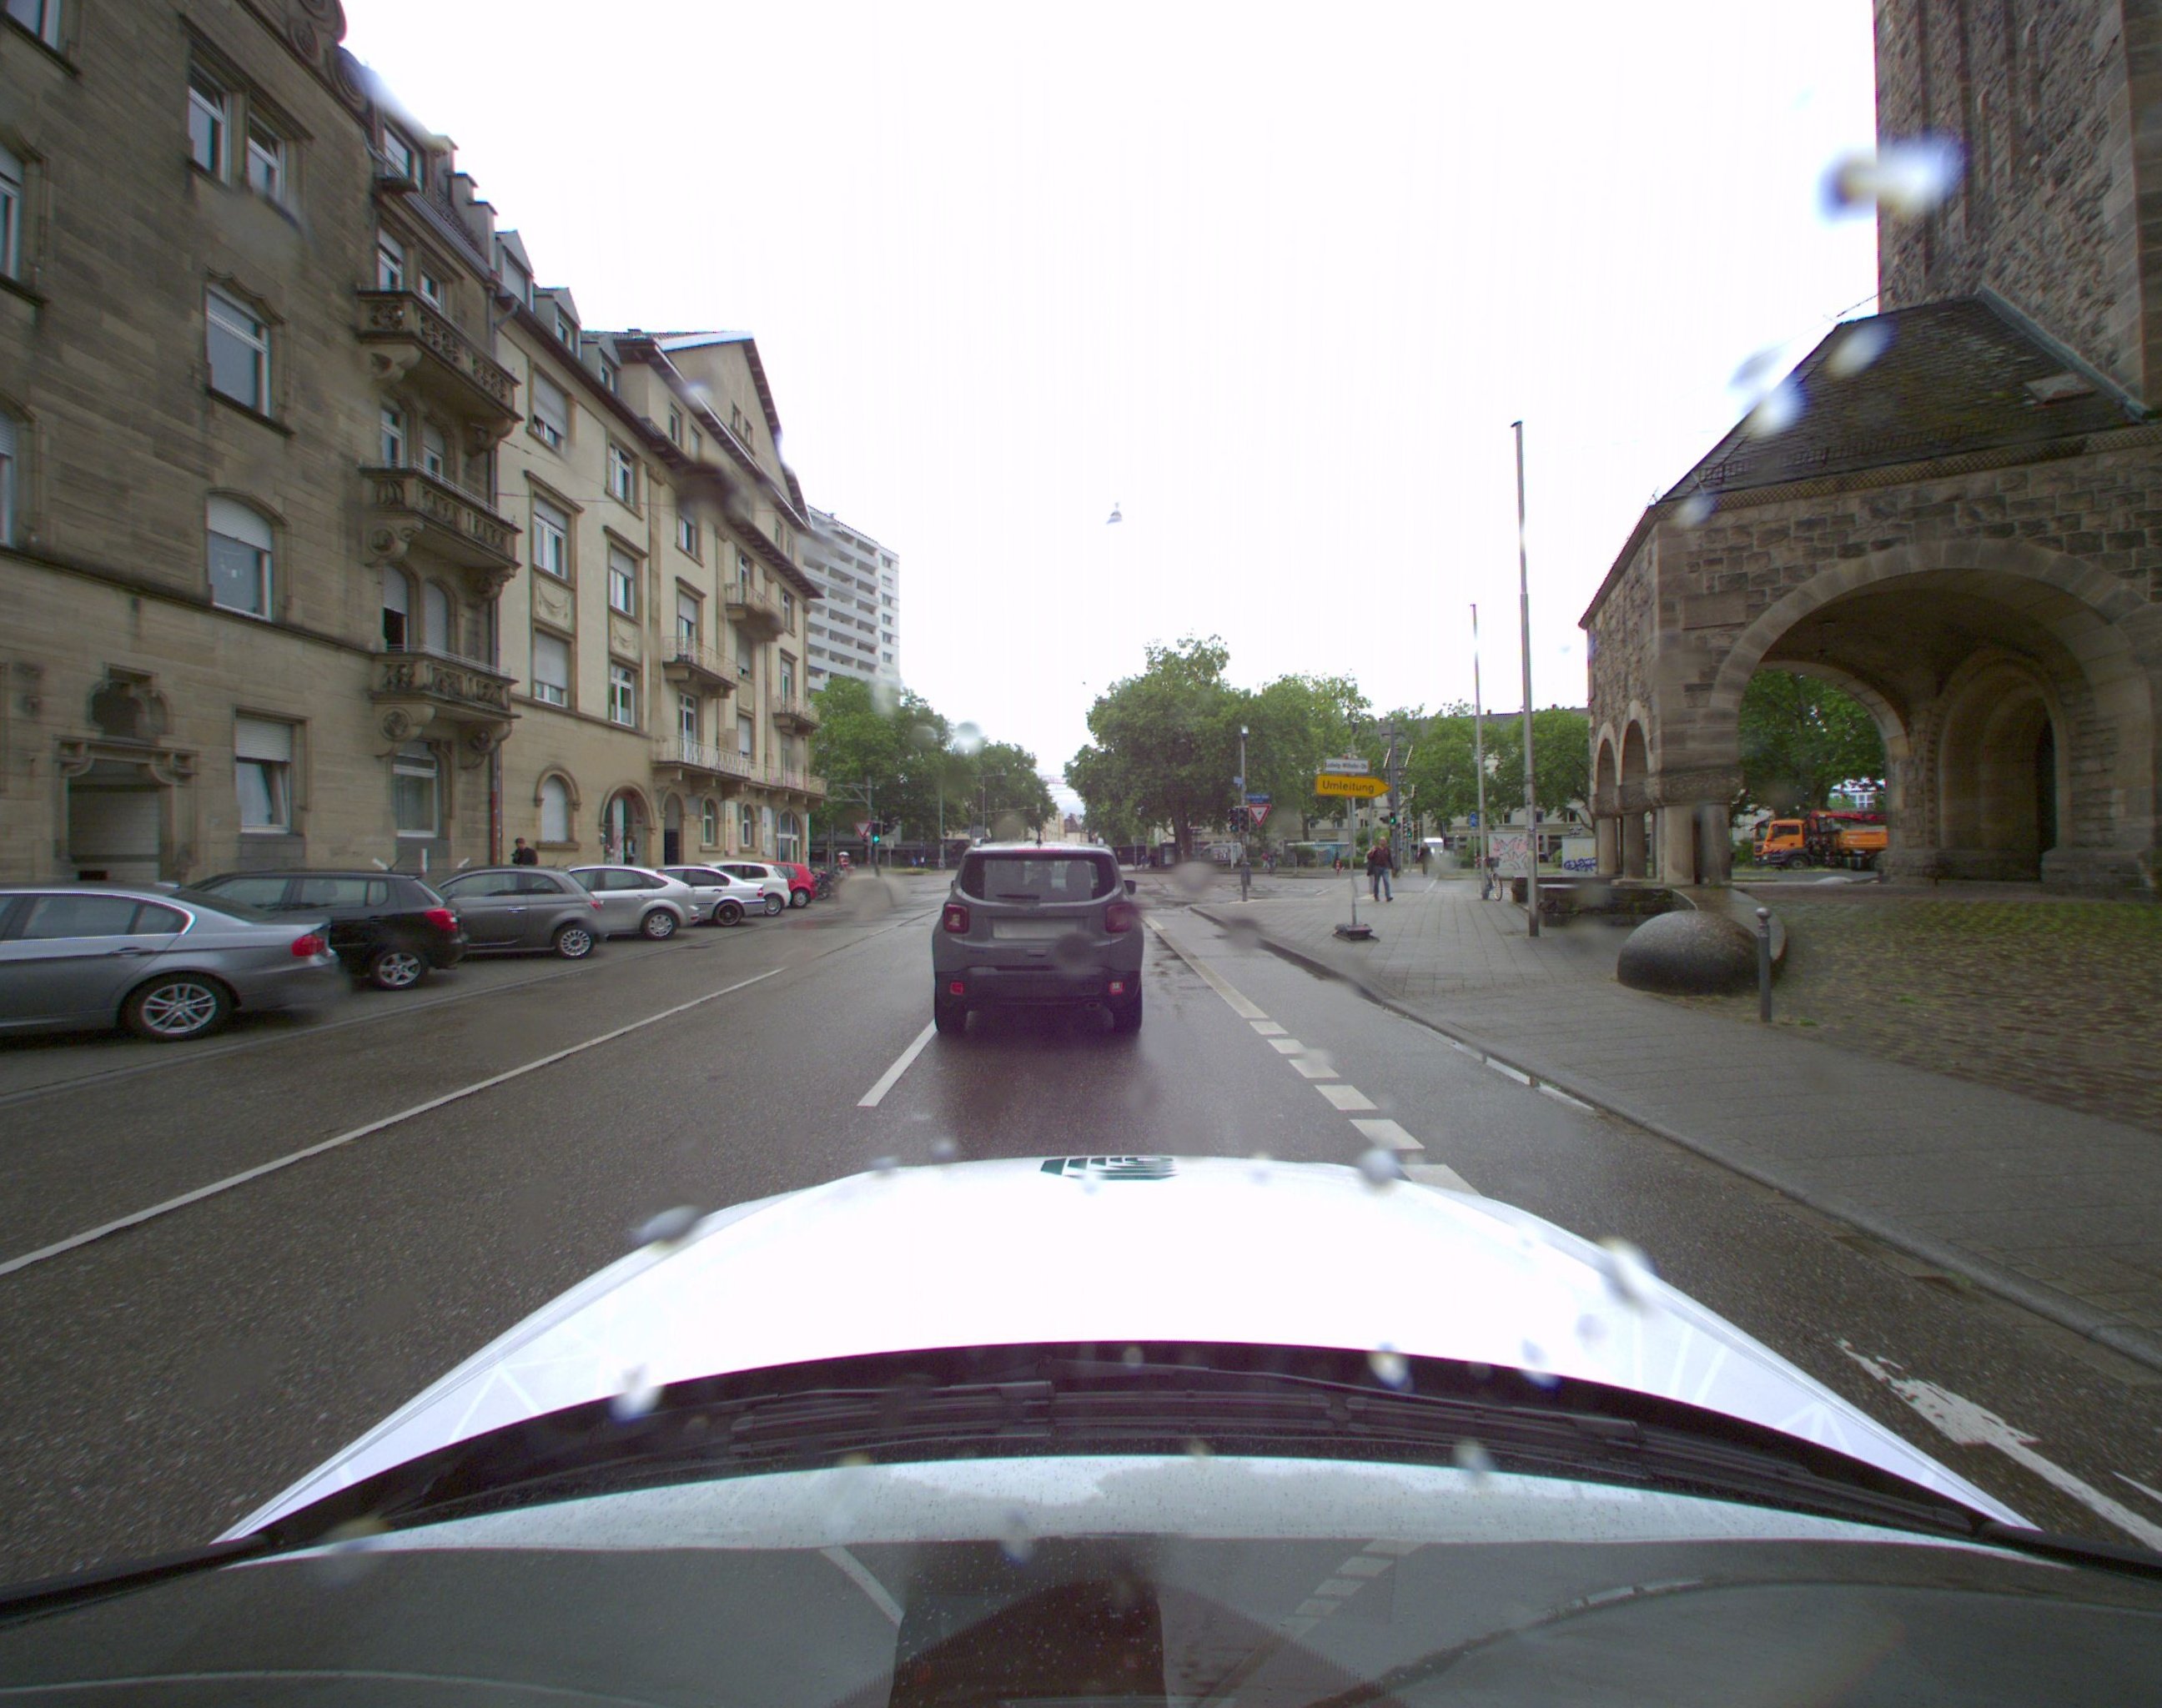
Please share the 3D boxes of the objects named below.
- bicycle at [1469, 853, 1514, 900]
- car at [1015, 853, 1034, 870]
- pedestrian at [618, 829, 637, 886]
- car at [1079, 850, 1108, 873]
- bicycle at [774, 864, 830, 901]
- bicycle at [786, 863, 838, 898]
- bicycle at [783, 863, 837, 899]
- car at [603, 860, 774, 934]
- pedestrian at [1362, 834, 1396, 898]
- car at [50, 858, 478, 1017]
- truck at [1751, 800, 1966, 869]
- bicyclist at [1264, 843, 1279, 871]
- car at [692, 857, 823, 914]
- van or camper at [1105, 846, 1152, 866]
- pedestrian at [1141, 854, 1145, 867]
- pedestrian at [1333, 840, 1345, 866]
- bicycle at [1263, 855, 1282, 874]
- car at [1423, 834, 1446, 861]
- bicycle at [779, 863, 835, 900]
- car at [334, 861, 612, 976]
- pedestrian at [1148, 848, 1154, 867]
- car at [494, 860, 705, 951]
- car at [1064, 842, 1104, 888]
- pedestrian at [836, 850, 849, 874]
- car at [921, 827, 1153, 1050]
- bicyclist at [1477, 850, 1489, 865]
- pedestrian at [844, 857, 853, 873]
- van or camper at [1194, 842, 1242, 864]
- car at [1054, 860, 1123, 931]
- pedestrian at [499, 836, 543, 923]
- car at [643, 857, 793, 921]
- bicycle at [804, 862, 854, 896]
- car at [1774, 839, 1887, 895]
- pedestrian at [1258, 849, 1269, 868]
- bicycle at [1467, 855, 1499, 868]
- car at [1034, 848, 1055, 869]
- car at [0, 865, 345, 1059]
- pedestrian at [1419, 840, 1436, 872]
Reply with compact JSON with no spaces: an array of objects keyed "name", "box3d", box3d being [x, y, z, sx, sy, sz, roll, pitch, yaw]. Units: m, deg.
[{"name":"bicycle","box3d":[10.770,0.567,21.421,0.327,1.154,2.079,-1,0,6]},{"name":"car","box3d":[-5.616,0.710,81.711,1.810,1.670,3.916,-1,0,-3]},{"name":"pedestrian","box3d":[-14.758,0.103,26.493,0.365,1.822,0.347,-2,-1,-1]},{"name":"car","box3d":[0.703,0.423,47.878,1.588,1.252,3.573,-1,0,-1]},{"name":"bicycle","box3d":[-9.916,1.006,28.970,1.758,1.266,0.522,-1,0,-1]},{"name":"bicycle","box3d":[-10.322,0.998,31.234,1.758,1.266,0.608,-1,0,-1]},{"name":"bicycle","box3d":[-10.037,1.008,30.202,1.805,1.266,0.498,-1,0,-1]},{"name":"car","box3d":[-9.371,0.960,19.539,3.419,1.558,1.686,-1,0,-38]},{"name":"pedestrian","box3d":[8.417,0.327,23.004,0.780,1.759,0.949,-2,0,16]},{"name":"car","box3d":[-9.828,0.884,10.224,3.571,1.598,1.587,-1,0,-38]},{"name":"truck","box3d":[43.079,-1.000,45.515,8.334,3.524,2.390,-1,0,24]},{"name":"bicyclist","box3d":[11.058,0.179,47.161,0.681,1.617,0.888,-2,0,21]},{"name":"car","box3d":[-9.973,0.922,25.182,3.419,1.558,1.686,-1,0,-38]},{"name":"van or camper","box3d":[7.020,0.287,121.488,6.465,2.912,2.509,-1,0,27]},{"name":"pedestrian","box3d":[7.646,0.798,101.052,0.456,1.704,0.424,-1,0,1]},{"name":"pedestrian","box3d":[20.298,-0.081,64.022,0.798,2.013,0.593,-1,0,28]},{"name":"bicycle","box3d":[11.103,0.571,47.229,0.686,1.021,2.672,-2,0,21]},{"name":"car","box3d":[34.846,-0.656,80.129,1.889,2.555,4.814,-1,0,25]},{"name":"bicycle","box3d":[-9.923,0.998,29.517,1.805,1.266,0.498,-1,0,-1]},{"name":"car","box3d":[-9.712,0.930,13.225,3.419,1.558,1.634,-1,0,-38]},{"name":"pedestrian","box3d":[7.684,0.391,89.320,0.646,2.013,0.484,-1,0,13]},{"name":"car","box3d":[-9.567,0.942,16.267,3.419,1.558,1.686,-1,0,-38]},{"name":"car","box3d":[0.166,0.487,38.349,1.764,2.013,4.001,-1,0,1]},{"name":"pedestrian","box3d":[-18.649,0.598,63.659,0.614,1.826,0.697,-2,0,14]},{"name":"car","box3d":[-0.334,0.660,8.330,1.769,1.687,3.848,-2,0,0]},{"name":"bicyclist","box3d":[27.662,0.238,56.038,0.673,1.026,0.563,-1,0,25]},{"name":"pedestrian","box3d":[-21.441,1.008,75.051,0.438,1.530,0.647,-1,0,27]},{"name":"van or camper","box3d":[15.324,-0.109,91.381,5.234,2.315,2.093,0,0,4]},{"name":"car","box3d":[0.180,0.844,18.006,1.358,1.376,3.313,-1,0,1]},{"name":"pedestrian","box3d":[-13.244,0.597,19.273,0.565,2.013,0.655,-1,0,1]},{"name":"car","box3d":[-9.870,0.897,22.210,3.419,1.558,1.686,-1,0,-38]},{"name":"bicycle","box3d":[-9.912,0.968,32.109,1.758,1.266,0.608,-1,0,-1]},{"name":"car","box3d":[21.130,0.338,23.089,1.390,1.479,3.239,-1,0,25]},{"name":"pedestrian","box3d":[14.925,0.342,66.597,0.667,1.554,0.766,-1,-2,29]},{"name":"bicycle","box3d":[27.670,0.520,56.033,1.949,0.911,0.563,-1,0,24]},{"name":"car","box3d":[-3.125,0.376,69.910,1.717,1.739,3.726,-1,0,-3]},{"name":"car","box3d":[-9.589,0.927,7.179,4.573,1.545,1.668,-1,0,-42]},{"name":"pedestrian","box3d":[18.246,0.107,42.881,0.775,1.645,0.659,-2,0,25]}]
